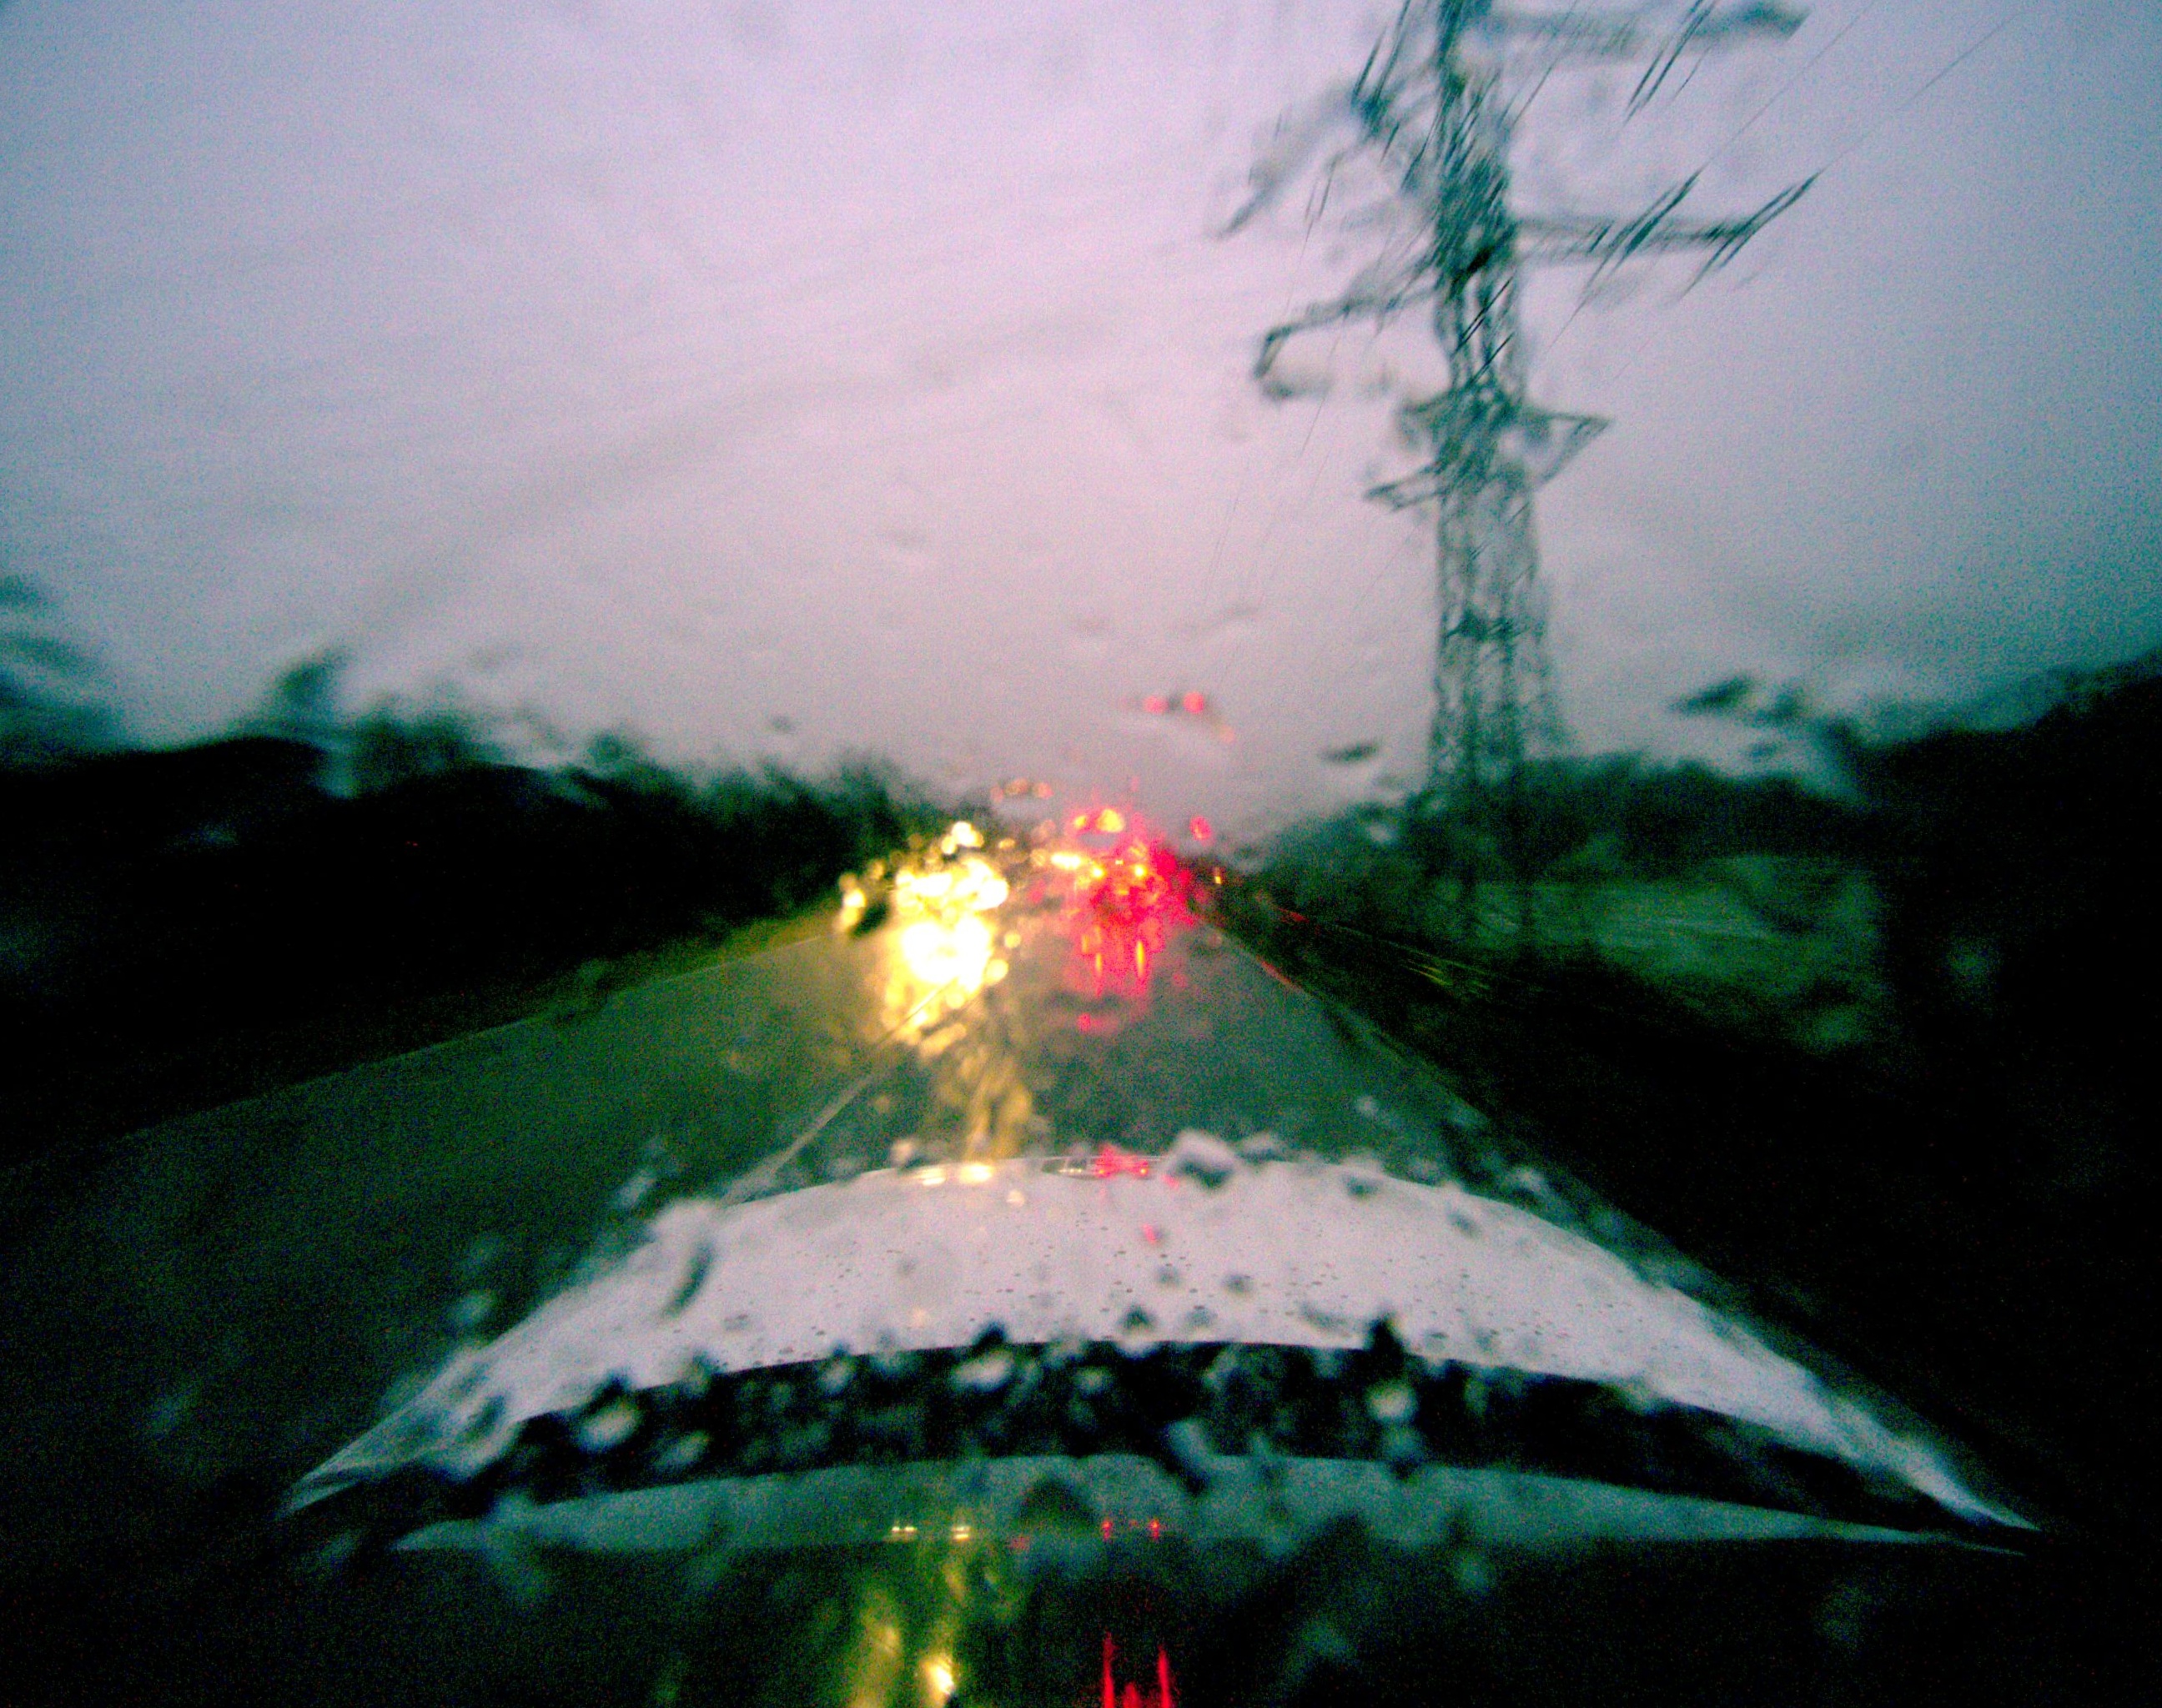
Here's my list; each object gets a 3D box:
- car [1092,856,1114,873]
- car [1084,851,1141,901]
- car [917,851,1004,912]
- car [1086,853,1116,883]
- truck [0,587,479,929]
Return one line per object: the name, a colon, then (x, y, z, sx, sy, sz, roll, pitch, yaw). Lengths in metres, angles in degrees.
car: (2.038, 0.953, 75.521, 1.764, 1.591, 4.161, -1, 0, -2)
car: (0.887, 0.627, 24.401, 1.496, 1.398, 3.197, 0, -1, -2)
car: (-3.394, 0.738, 23.719, 1.728, 1.613, 4.215, -1, 0, 3)
car: (1.338, 0.954, 55.887, 1.847, 2.014, 3.997, 0, -1, -2)
truck: (-28.290, -2.189, 12.234, 7.515, 7.713, 40.164, 0, 0, 2)
